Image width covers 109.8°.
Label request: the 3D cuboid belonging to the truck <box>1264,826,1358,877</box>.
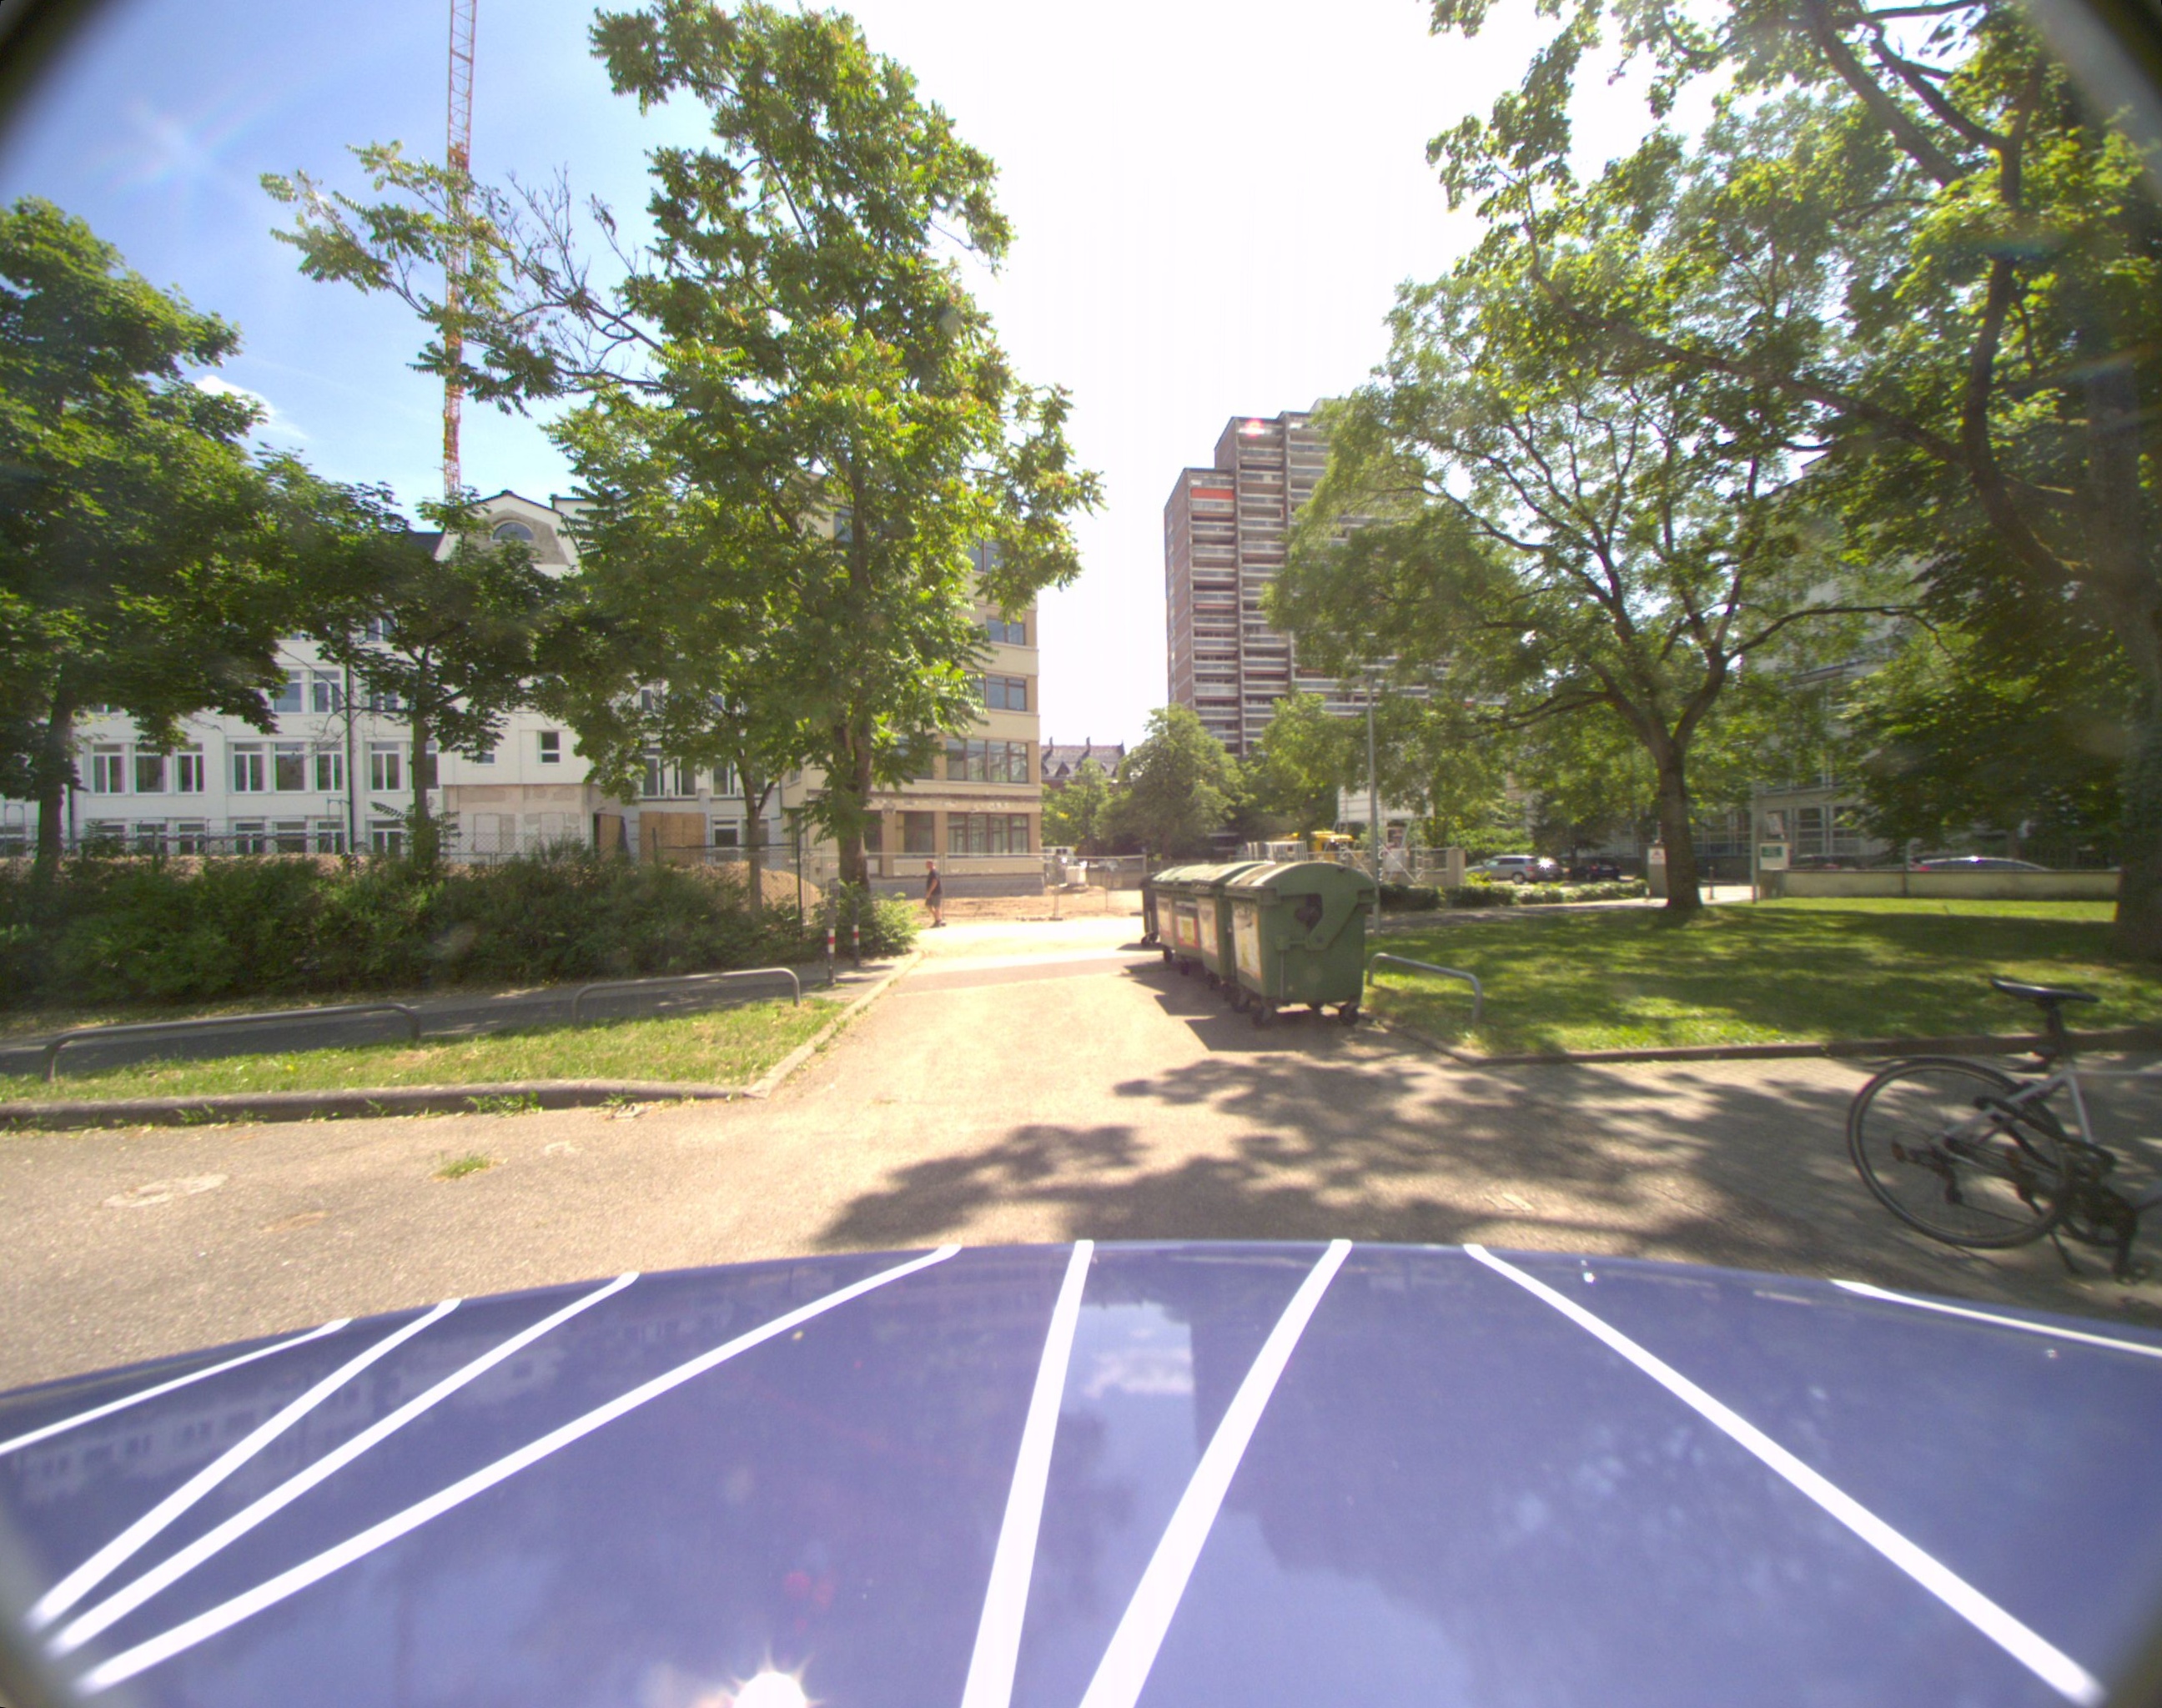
[{"bbox_3d":[19.286,-0.165,64.608,2.753,3.982,9.731,-2,0,-16],"label":"truck"}]

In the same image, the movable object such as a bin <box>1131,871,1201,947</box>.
[{"bbox_3d":[1.675,1.040,14.844,1.114,1.386,1.162,-1,0,18],"label":"movable object such as a bin"}]

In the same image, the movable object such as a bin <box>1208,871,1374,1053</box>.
[{"bbox_3d":[1.867,0.907,7.014,1.047,1.470,1.409,-1,0,-4],"label":"movable object such as a bin"}]

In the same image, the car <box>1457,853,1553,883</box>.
[{"bbox_3d":[24.652,0.827,44.317,2.004,1.597,4.388,-1,0,-36],"label":"car"}]

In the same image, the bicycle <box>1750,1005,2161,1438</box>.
[{"bbox_3d":[3.240,1.124,2.423,0.613,0.952,1.729,-1,-1,-3],"label":"bicycle"}]

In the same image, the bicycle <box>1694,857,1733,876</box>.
[{"bbox_3d":[39.173,0.782,47.075,1.942,1.124,0.568,-1,0,-2],"label":"bicycle"}]

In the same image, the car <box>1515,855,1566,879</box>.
[{"bbox_3d":[29.457,0.828,48.815,1.816,1.454,4.028,-1,0,17],"label":"car"}]

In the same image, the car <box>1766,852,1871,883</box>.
[{"bbox_3d":[36.865,0.672,38.120,1.751,1.461,4.201,-1,0,11],"label":"car"}]

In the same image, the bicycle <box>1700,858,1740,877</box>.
[{"bbox_3d":[38.911,0.802,46.276,1.942,1.124,0.568,-1,0,-2],"label":"bicycle"}]

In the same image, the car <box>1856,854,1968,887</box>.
[{"bbox_3d":[38.713,0.757,35.526,1.751,1.453,3.543,-1,0,11],"label":"car"}]

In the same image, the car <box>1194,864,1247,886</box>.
[{"bbox_3d":[9.330,1.378,51.070,1.625,1.431,3.575,-1,0,-29],"label":"car"}]

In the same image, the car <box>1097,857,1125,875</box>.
[{"bbox_3d":[3.556,1.415,90.231,1.995,2.002,4.006,-1,0,23],"label":"car"}]

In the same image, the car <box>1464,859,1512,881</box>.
[{"bbox_3d":[26.945,1.059,50.453,1.627,1.365,4.026,-1,0,11],"label":"car"}]

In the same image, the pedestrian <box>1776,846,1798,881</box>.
[{"bbox_3d":[38.311,0.531,41.223,0.716,1.863,0.576,-1,0,-19],"label":"pedestrian"}]

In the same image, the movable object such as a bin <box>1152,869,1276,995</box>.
[{"bbox_3d":[1.686,0.950,9.892,1.097,1.470,1.358,-1,0,-15],"label":"movable object such as a bin"}]

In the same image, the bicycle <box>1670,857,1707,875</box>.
[{"bbox_3d":[39.036,0.794,48.807,1.926,1.124,0.568,-1,0,-2],"label":"bicycle"}]

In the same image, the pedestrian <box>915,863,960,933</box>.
[{"bbox_3d":[-3.833,1.149,20.253,0.969,1.809,0.869,-1,0,-24],"label":"pedestrian"}]

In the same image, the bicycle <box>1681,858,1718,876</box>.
[{"bbox_3d":[39.110,0.807,48.061,1.942,1.124,0.568,-1,0,-2],"label":"bicycle"}]

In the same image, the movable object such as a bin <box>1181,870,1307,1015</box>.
[{"bbox_3d":[1.773,0.929,8.504,1.047,1.470,1.261,-1,0,-5],"label":"movable object such as a bin"}]

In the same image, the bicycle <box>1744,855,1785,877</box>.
[{"bbox_3d":[39.936,0.699,44.396,1.942,1.230,0.568,-1,0,-2],"label":"bicycle"}]

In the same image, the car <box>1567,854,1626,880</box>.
[{"bbox_3d":[31.263,0.786,46.212,1.647,1.507,3.579,-1,-1,11],"label":"car"}]

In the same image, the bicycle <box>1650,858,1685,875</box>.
[{"bbox_3d":[38.837,0.818,50.340,1.927,1.124,0.568,-1,0,-5],"label":"bicycle"}]

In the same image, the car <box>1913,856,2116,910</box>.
[{"bbox_3d":[27.610,0.829,22.585,1.592,1.448,3.716,2,-2,-36],"label":"car"}]

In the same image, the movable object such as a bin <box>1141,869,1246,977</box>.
[{"bbox_3d":[1.626,0.970,11.244,1.208,1.470,1.324,-1,0,-8],"label":"movable object such as a bin"}]

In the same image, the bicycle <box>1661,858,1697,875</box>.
[{"bbox_3d":[39.016,0.814,49.579,1.927,1.124,0.568,-1,0,-5],"label":"bicycle"}]
